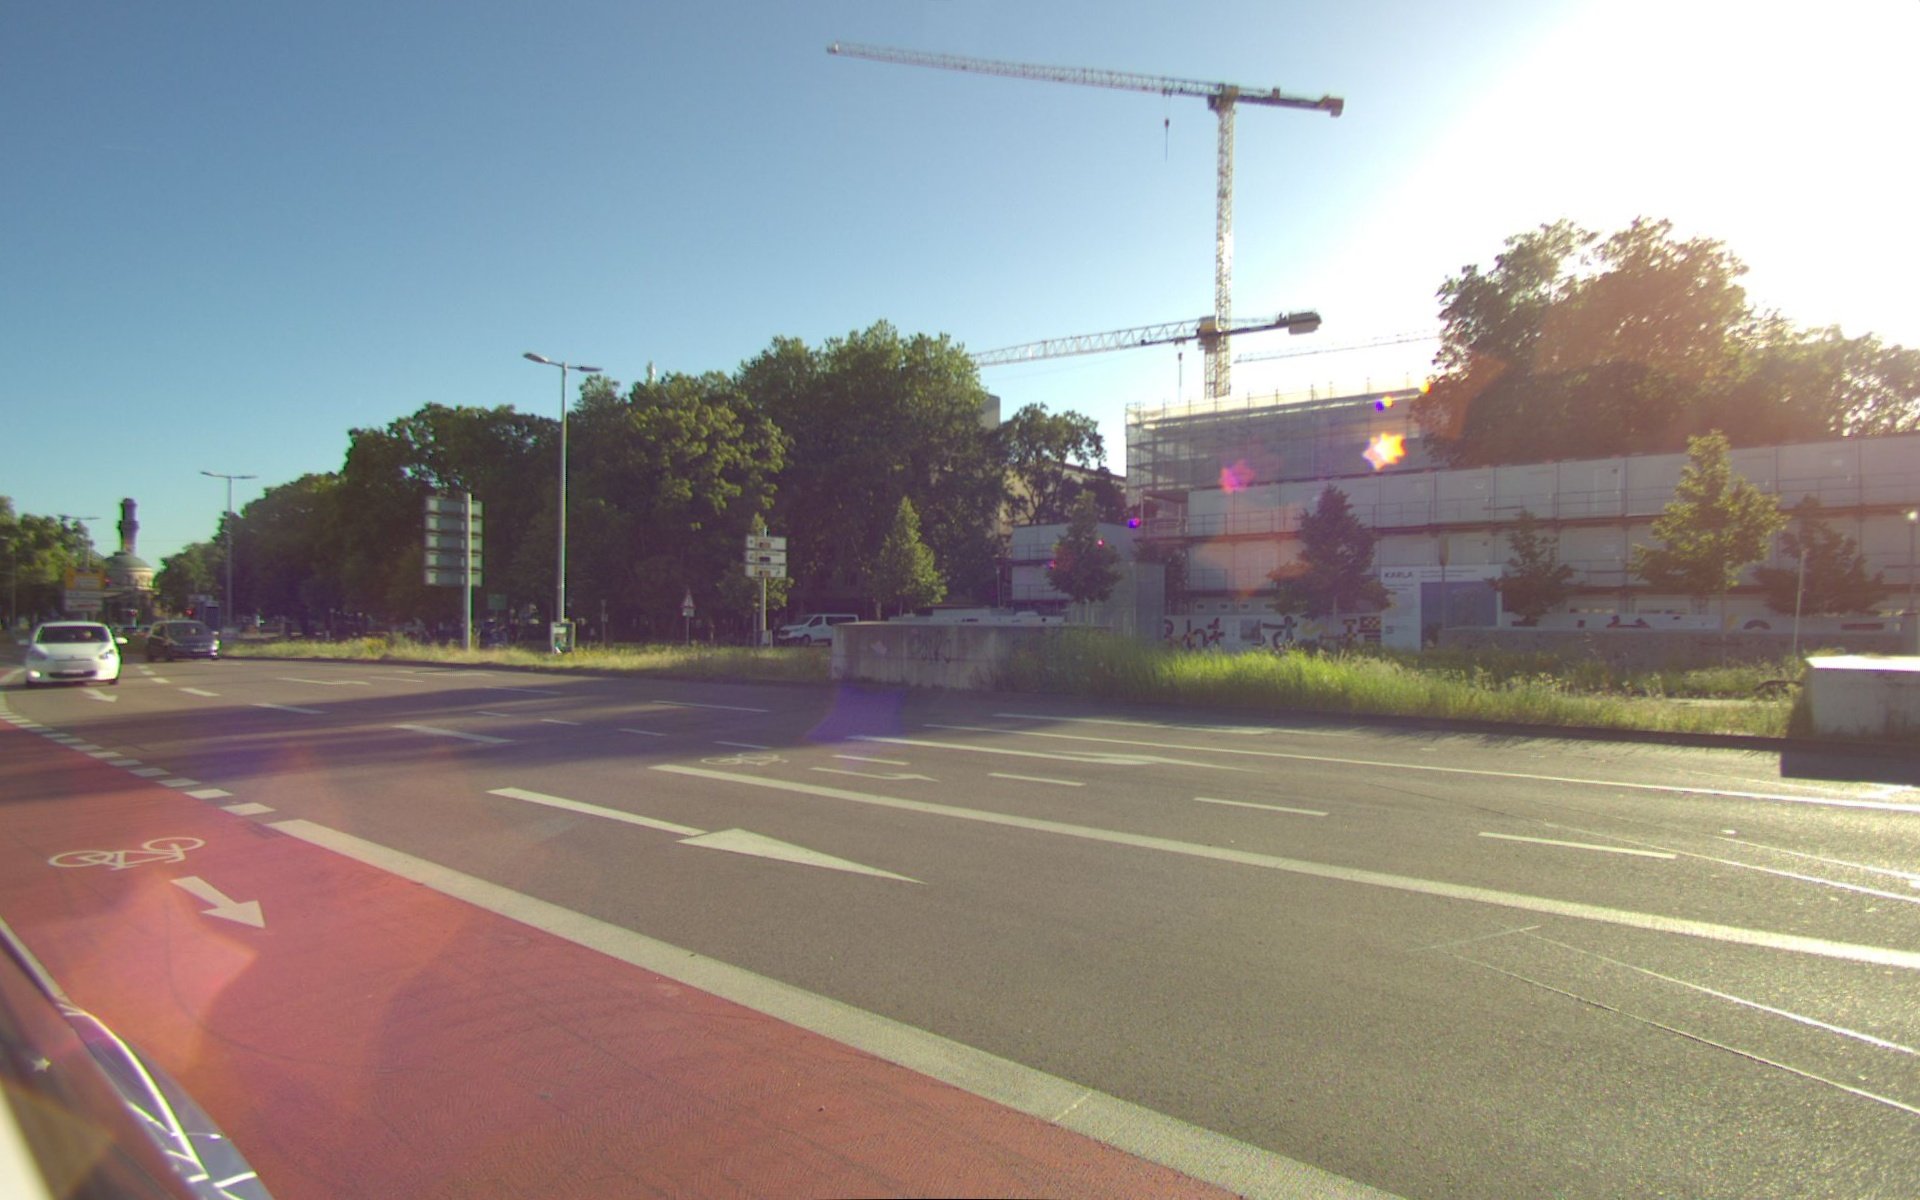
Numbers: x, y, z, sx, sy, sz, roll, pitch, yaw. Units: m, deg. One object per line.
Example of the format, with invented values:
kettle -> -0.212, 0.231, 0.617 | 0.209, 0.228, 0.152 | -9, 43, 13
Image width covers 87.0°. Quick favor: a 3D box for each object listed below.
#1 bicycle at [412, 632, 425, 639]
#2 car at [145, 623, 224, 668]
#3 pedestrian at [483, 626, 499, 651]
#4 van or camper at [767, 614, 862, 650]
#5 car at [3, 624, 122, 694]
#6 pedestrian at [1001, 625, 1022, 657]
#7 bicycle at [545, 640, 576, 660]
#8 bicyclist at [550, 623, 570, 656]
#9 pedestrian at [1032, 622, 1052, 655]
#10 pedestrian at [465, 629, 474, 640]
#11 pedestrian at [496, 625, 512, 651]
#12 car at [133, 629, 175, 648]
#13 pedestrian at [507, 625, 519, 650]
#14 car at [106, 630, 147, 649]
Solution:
bicycle -> -69.784, 4.587, 130.404 | 1.600, 0.896, 0.762 | -1, -2, 32
car -> -30.665, 1.748, 39.993 | 3.998, 1.651, 1.711 | -1, -1, 41
pedestrian -> -31.622, 2.569, 68.265 | 0.726, 1.653, 0.734 | -2, -2, 44
van or camper -> -8.836, 1.979, 61.828 | 2.257, 2.029, 5.603 | 1, -1, 41
car -> -21.021, 1.317, 23.660 | 3.764, 1.475, 1.657 | -1, -1, 41
pedestrian -> 2.527, 1.995, 49.694 | 0.834, 1.570, 0.574 | -2, -3, 38
bicycle -> -18.381, 2.291, 46.501 | 0.605, 0.868, 1.952 | 1, -2, -44
bicyclist -> -18.391, 1.808, 46.525 | 0.600, 1.500, 0.681 | 1, -2, -45
pedestrian -> 4.264, 1.981, 52.490 | 0.834, 1.701, 0.574 | -2, -3, 38
pedestrian -> -56.288, 3.961, 116.210 | 0.599, 1.350, 0.723 | -2, -2, 43
pedestrian -> -31.045, 2.560, 68.920 | 0.761, 1.754, 0.763 | -2, -2, 44
car -> -69.254, 3.267, 86.946 | 4.055, 1.576, 1.974 | -1, -2, 39
pedestrian -> -30.686, 2.562, 69.490 | 0.655, 1.754, 0.518 | -2, -2, 44
car -> -74.413, 3.514, 90.326 | 4.546, 1.688, 1.973 | -1, -2, 40
